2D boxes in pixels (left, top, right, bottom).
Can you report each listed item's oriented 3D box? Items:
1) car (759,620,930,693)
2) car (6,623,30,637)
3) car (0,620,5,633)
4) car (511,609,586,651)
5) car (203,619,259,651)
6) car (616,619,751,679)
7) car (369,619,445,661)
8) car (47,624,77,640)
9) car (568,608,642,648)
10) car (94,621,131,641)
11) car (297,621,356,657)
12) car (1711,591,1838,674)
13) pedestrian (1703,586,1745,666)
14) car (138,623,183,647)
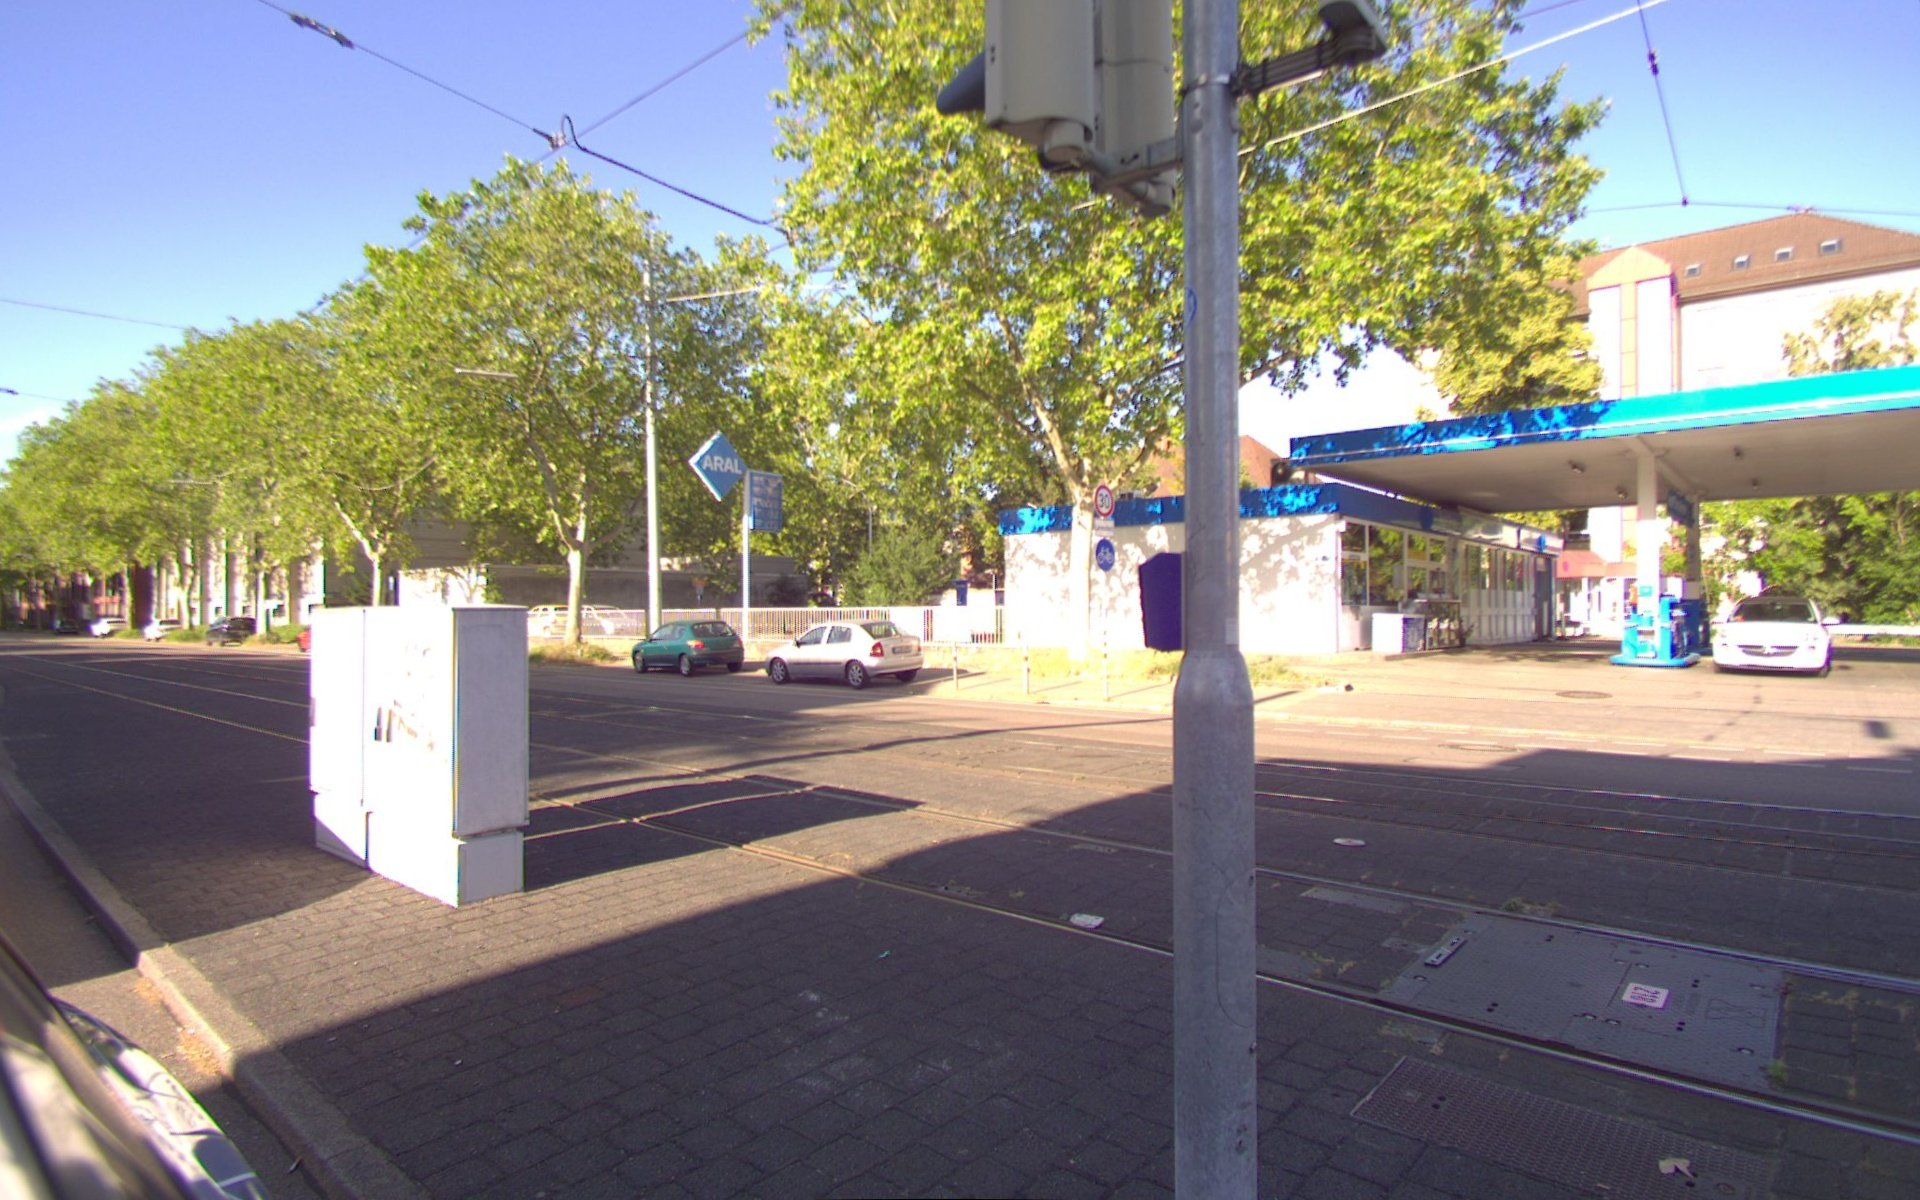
[{"bbox_3d":[-2.637,1.203,22.634,3.812,1.413,1.674,-1,1,41],"label":"car"},{"bbox_3d":[-112.137,3.558,120.498,3.748,1.459,1.674,-1,1,41],"label":"car"},{"bbox_3d":[-133.928,3.672,140.466,3.748,1.798,1.674,-1,1,41],"label":"car"},{"bbox_3d":[-17.085,1.228,41.962,3.303,1.628,1.579,-1,0,41],"label":"car"},{"bbox_3d":[-40.676,1.936,56.445,3.748,1.670,1.674,-1,1,41],"label":"car"},{"bbox_3d":[-7.401,1.263,26.962,3.748,1.413,1.674,-1,1,41],"label":"car"},{"bbox_3d":[-21.877,1.555,39.994,3.303,1.519,1.579,-1,1,41],"label":"car"},{"bbox_3d":[-85.238,3.025,96.036,3.748,1.459,1.674,-1,1,41],"label":"car"},{"bbox_3d":[-15.266,1.193,43.439,3.303,1.604,1.579,-1,0,41],"label":"car"},{"bbox_3d":[-66.678,2.442,79.599,3.748,1.459,1.674,-1,1,41],"label":"car"},{"bbox_3d":[-28.686,1.753,45.822,2.621,1.519,1.579,-1,1,41],"label":"car"},{"bbox_3d":[15.885,0.609,19.687,1.757,1.453,3.521,-1,-1,41],"label":"car"},{"bbox_3d":[16.691,0.562,22.121,0.493,1.714,0.649,1,-2,-45],"label":"pedestrian"},{"bbox_3d":[-53.861,2.339,68.171,3.748,1.459,1.674,-1,1,41],"label":"car"}]
